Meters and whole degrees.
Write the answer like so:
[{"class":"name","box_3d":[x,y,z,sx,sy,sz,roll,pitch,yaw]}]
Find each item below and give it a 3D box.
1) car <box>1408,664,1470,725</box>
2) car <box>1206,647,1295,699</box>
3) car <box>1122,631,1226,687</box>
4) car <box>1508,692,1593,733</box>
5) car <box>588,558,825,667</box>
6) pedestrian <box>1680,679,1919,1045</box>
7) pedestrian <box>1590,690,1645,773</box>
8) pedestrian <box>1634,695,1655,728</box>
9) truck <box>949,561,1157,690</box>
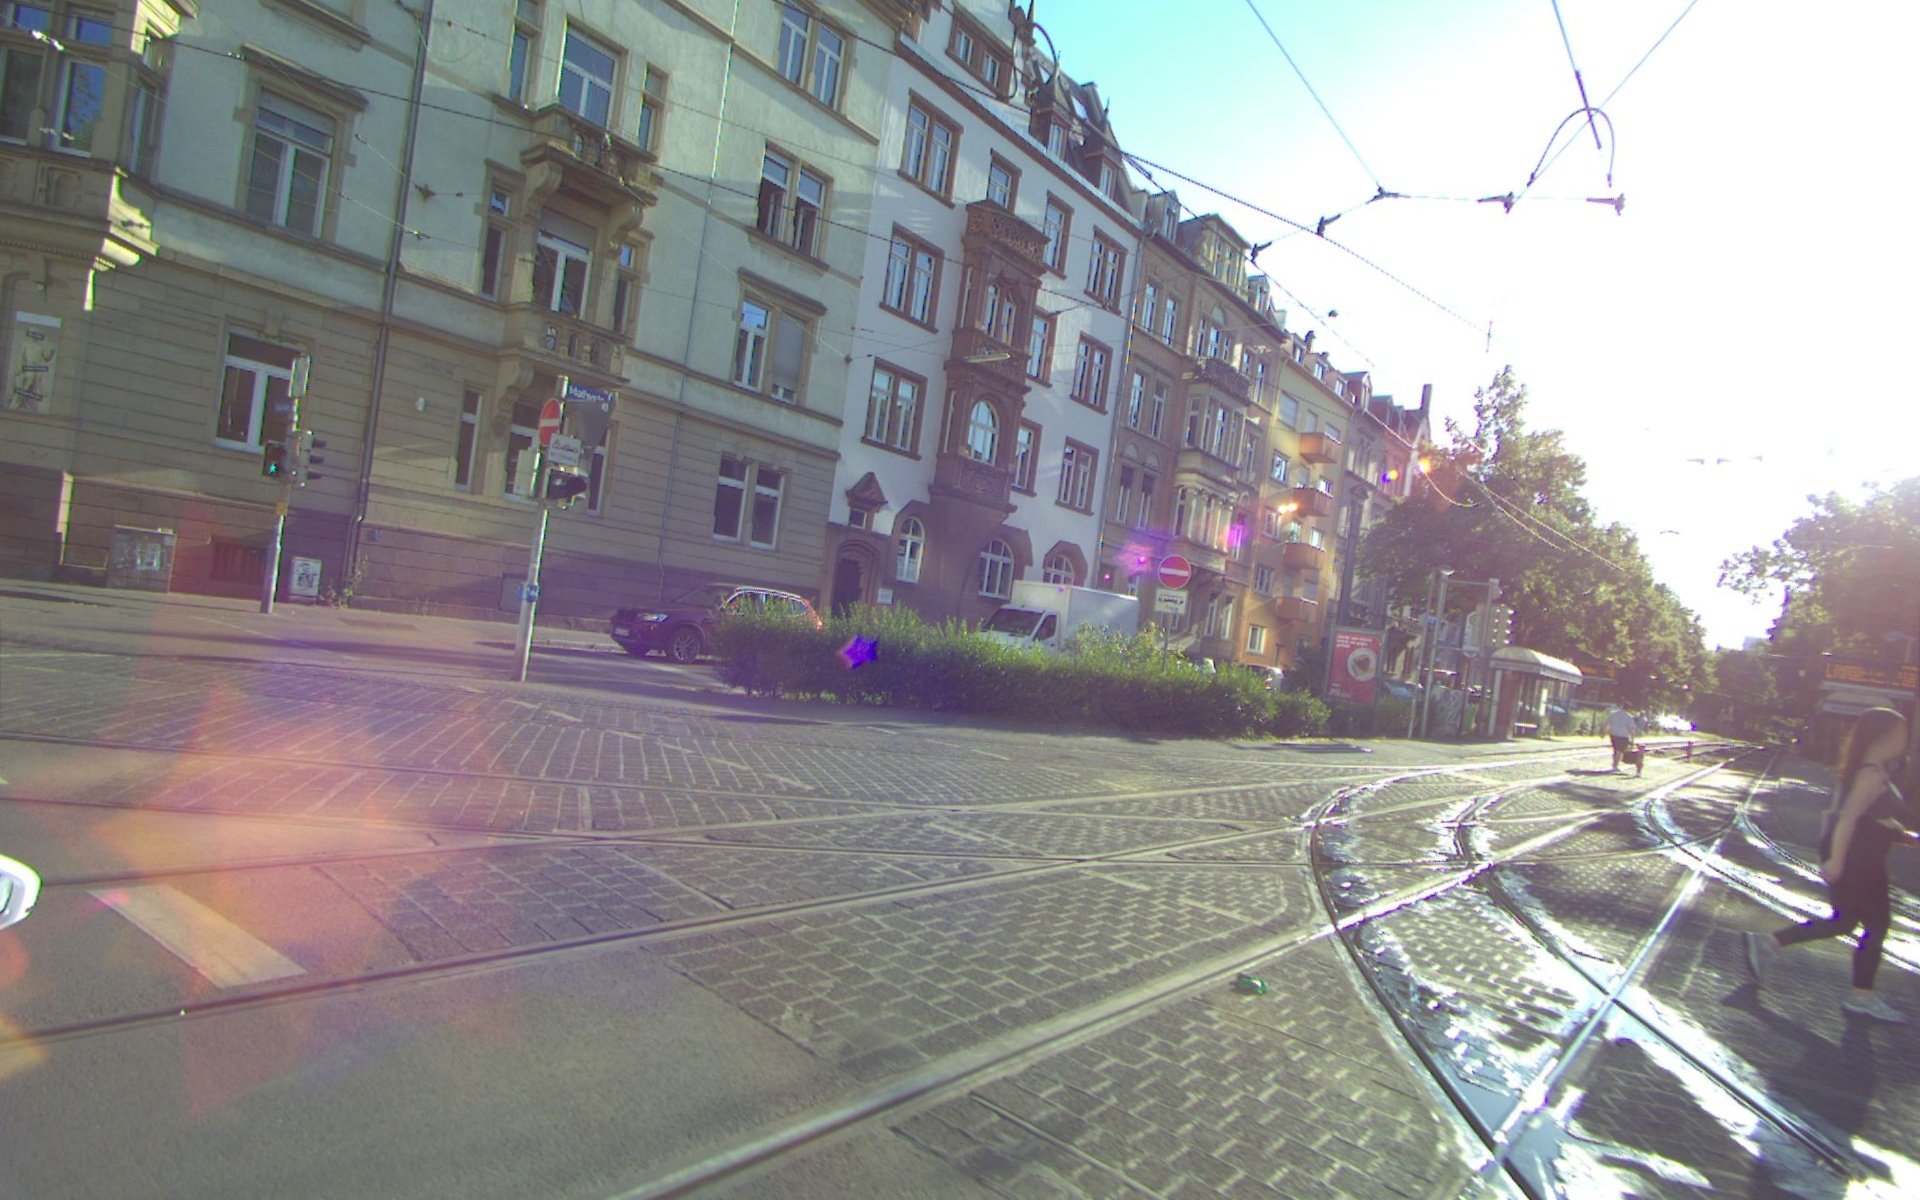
[{"class":"car","box_3d":[31.278,6.230,65.589,1.917,3.510,5.677,6,-2,41]},{"class":"car","box_3d":[12.498,3.159,43.090,1.917,1.792,4.255,6,-2,41]},{"class":"car","box_3d":[8.203,2.257,38.313,1.917,1.651,4.255,6,-2,41]},{"class":"car","box_3d":[37.112,7.042,63.364,1.917,1.947,4.257,8,-2,-19]},{"class":"car","box_3d":[-5.102,0.317,20.702,1.917,1.651,4.255,7,-2,41]},{"class":"pedestrian","box_3d":[5.154,1.468,6.014,1.064,1.829,1.025,8,0,30]},{"class":"pedestrian","box_3d":[17.663,3.527,27.033,0.852,2.039,0.603,11,3,44]},{"class":"pedestrian","box_3d":[40.578,6.628,59.639,0.673,1.853,0.603,11,3,44]},{"class":"truck","box_3d":[3.146,0.947,31.236,2.295,3.116,8.062,7,-2,37]}]
